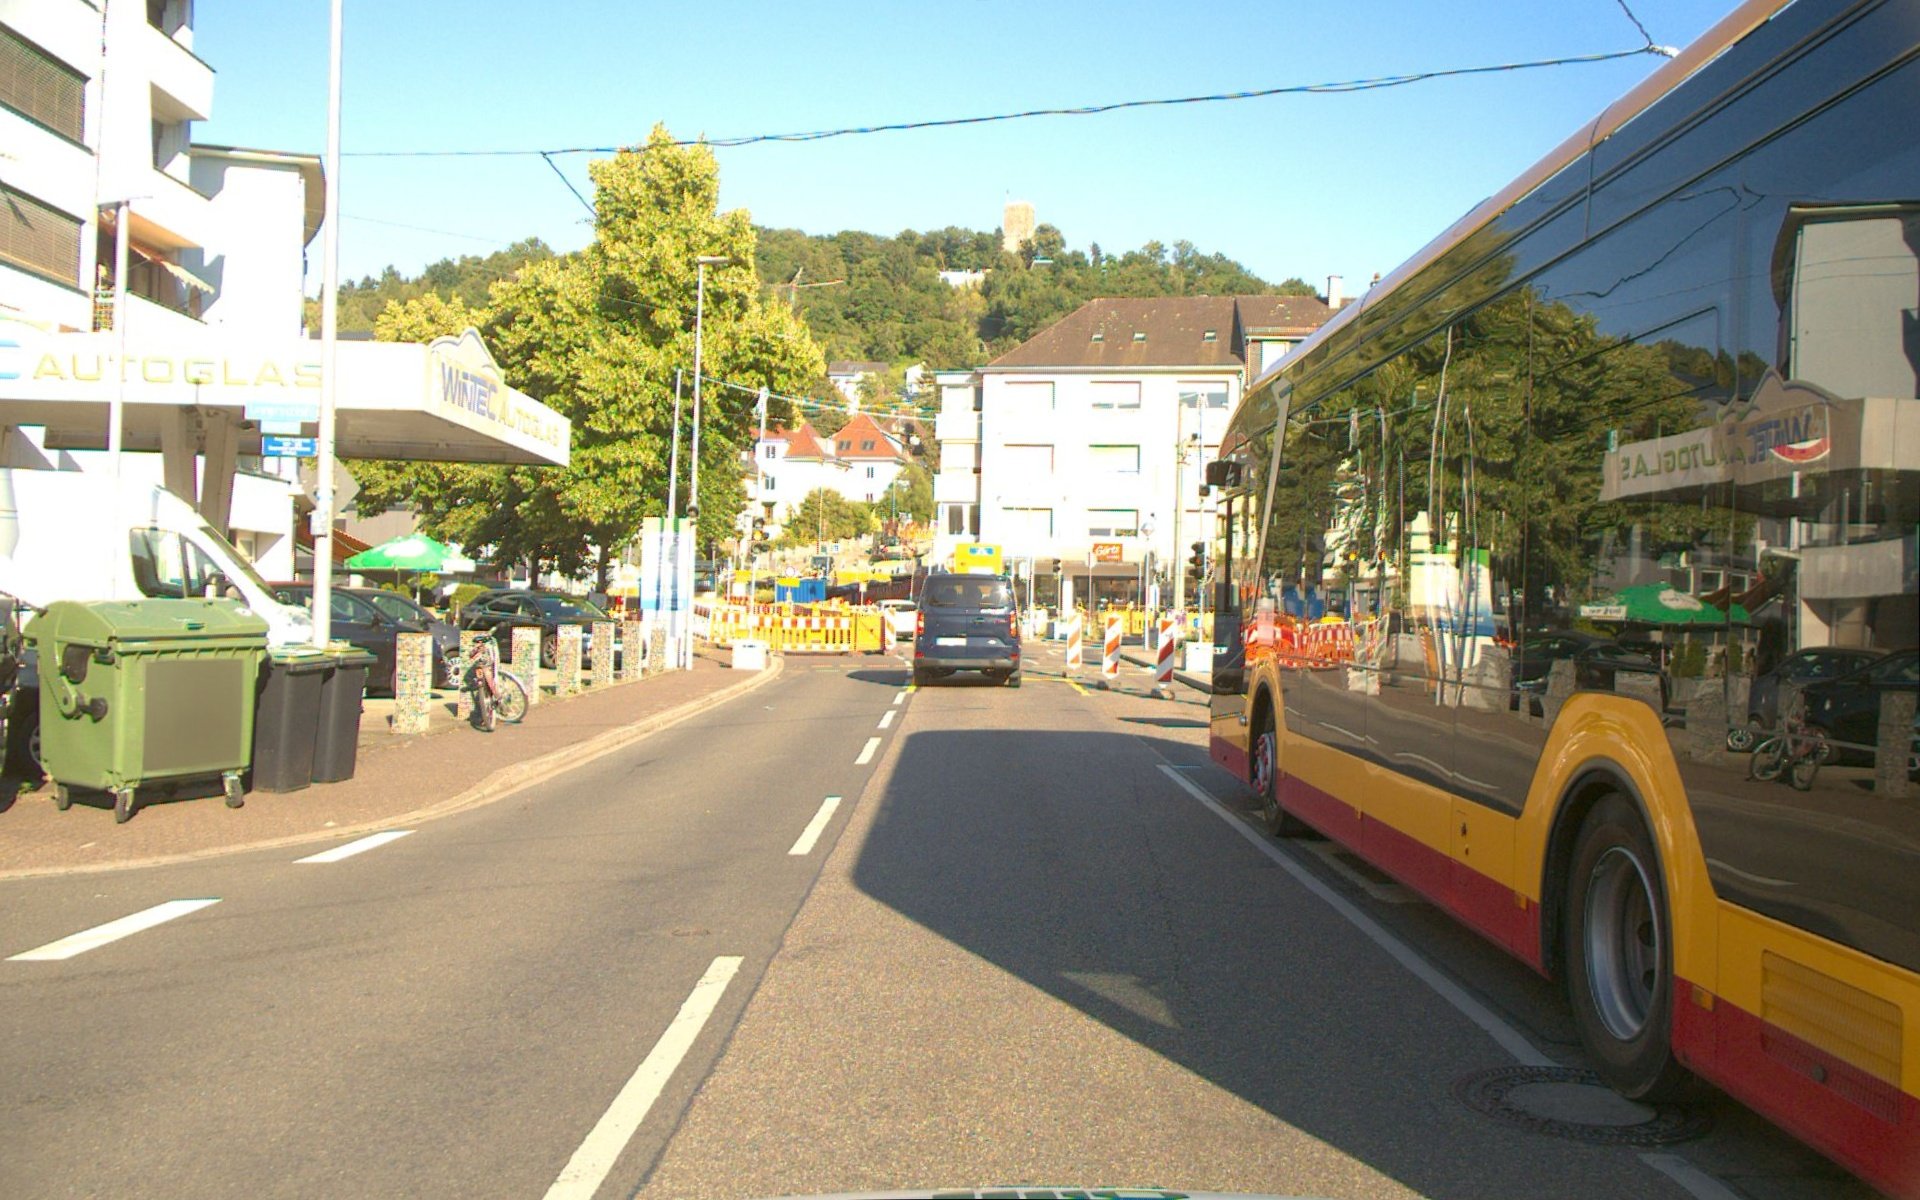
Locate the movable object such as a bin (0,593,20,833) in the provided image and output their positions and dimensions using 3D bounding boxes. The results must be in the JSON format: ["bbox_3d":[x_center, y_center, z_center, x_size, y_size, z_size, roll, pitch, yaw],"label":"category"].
[{"bbox_3d":[-6.766,0.732,10.663,1.204,1.508,0.697,0,3,-29],"label":"movable object such as a bin"}]

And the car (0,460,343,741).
[{"bbox_3d":[-8.652,0.009,15.934,4.984,2.513,2.095,2,-1,-22],"label":"car"}]

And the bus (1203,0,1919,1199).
[{"bbox_3d":[3.345,-0.195,7.748,2.633,3.476,12.018,1,0,0],"label":"bus"}]

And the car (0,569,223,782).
[{"bbox_3d":[-8.228,0.535,13.256,3.920,1.595,1.766,2,0,-14],"label":"car"}]

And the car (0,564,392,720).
[{"bbox_3d":[-8.666,0.482,18.744,3.943,1.595,1.756,2,0,-30],"label":"car"}]

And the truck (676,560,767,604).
[{"bbox_3d":[-14.131,-0.999,98.864,2.306,2.458,9.159,1,0,12],"label":"truck"}]

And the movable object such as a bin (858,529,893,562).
[{"bbox_3d":[-7.342,-4.713,143.916,2.144,2.737,4.003,1,0,11],"label":"movable object such as a bin"}]

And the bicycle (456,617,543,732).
[{"bbox_3d":[-5.144,0.806,18.552,0.709,1.198,1.777,1,0,-9],"label":"bicycle"}]

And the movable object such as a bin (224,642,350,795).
[{"bbox_3d":[-5.193,0.897,12.779,0.646,1.081,0.585,3,2,12],"label":"movable object such as a bin"}]

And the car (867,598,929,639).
[{"bbox_3d":[-2.310,0.675,60.540,1.761,1.434,3.991,1,0,-10],"label":"car"}]

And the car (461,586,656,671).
[{"bbox_3d":[-8.079,0.543,33.068,1.896,1.480,4.244,2,0,-44],"label":"car"}]

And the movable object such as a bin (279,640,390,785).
[{"bbox_3d":[-5.055,0.897,13.390,0.626,1.088,0.580,2,3,12],"label":"movable object such as a bin"}]

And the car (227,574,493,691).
[{"bbox_3d":[-8.878,0.474,24.656,1.591,1.596,3.377,1,-1,38],"label":"car"}]

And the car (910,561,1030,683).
[{"bbox_3d":[0.175,0.408,30.995,2.019,2.049,4.999,2,-1,0],"label":"car"}]

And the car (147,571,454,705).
[{"bbox_3d":[-8.543,0.477,21.587,1.594,1.596,3.371,1,-1,43],"label":"car"}]

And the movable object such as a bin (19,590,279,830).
[{"bbox_3d":[-5.735,0.726,11.749,1.035,1.508,1.310,3,3,28],"label":"movable object such as a bin"}]

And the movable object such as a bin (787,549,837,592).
[{"bbox_3d":[-9.759,-1.925,109.367,2.144,2.737,4.003,1,0,11],"label":"movable object such as a bin"}]
